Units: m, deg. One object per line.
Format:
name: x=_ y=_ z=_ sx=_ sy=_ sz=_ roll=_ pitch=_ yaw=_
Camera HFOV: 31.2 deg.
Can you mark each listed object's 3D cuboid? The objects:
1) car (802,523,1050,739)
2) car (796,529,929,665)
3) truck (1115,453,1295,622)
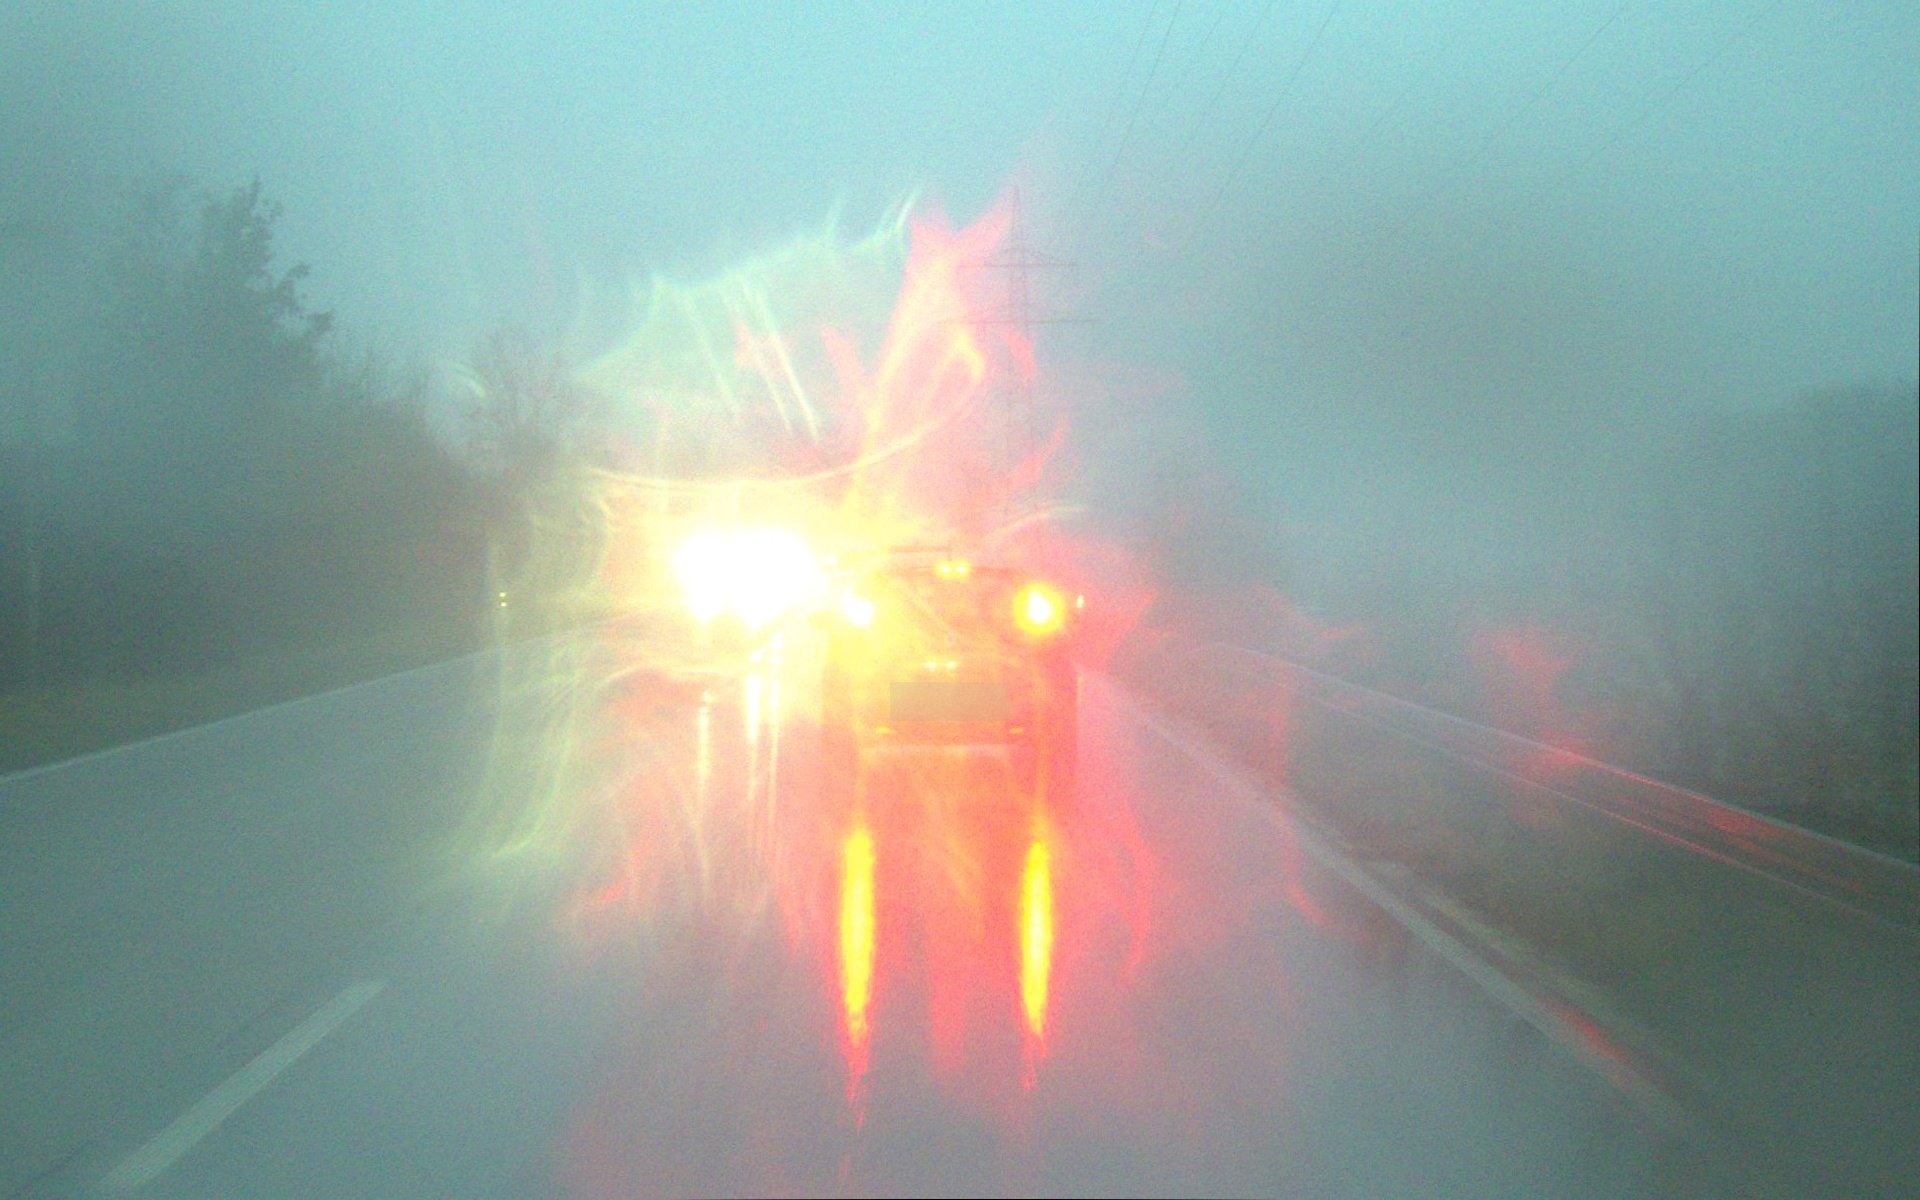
car: x=-0.291 y=0.184 z=23.950 sx=1.500 sy=1.393 sz=3.200 roll=0 pitch=1 yaw=-4
car: x=-1.546 y=-0.073 z=53.143 sx=1.852 sy=2.007 sz=4.001 roll=0 pitch=1 yaw=-4
truck: x=4.516 y=-1.159 z=64.812 sx=2.533 sy=2.968 sz=7.858 roll=0 pitch=1 yaw=-2
